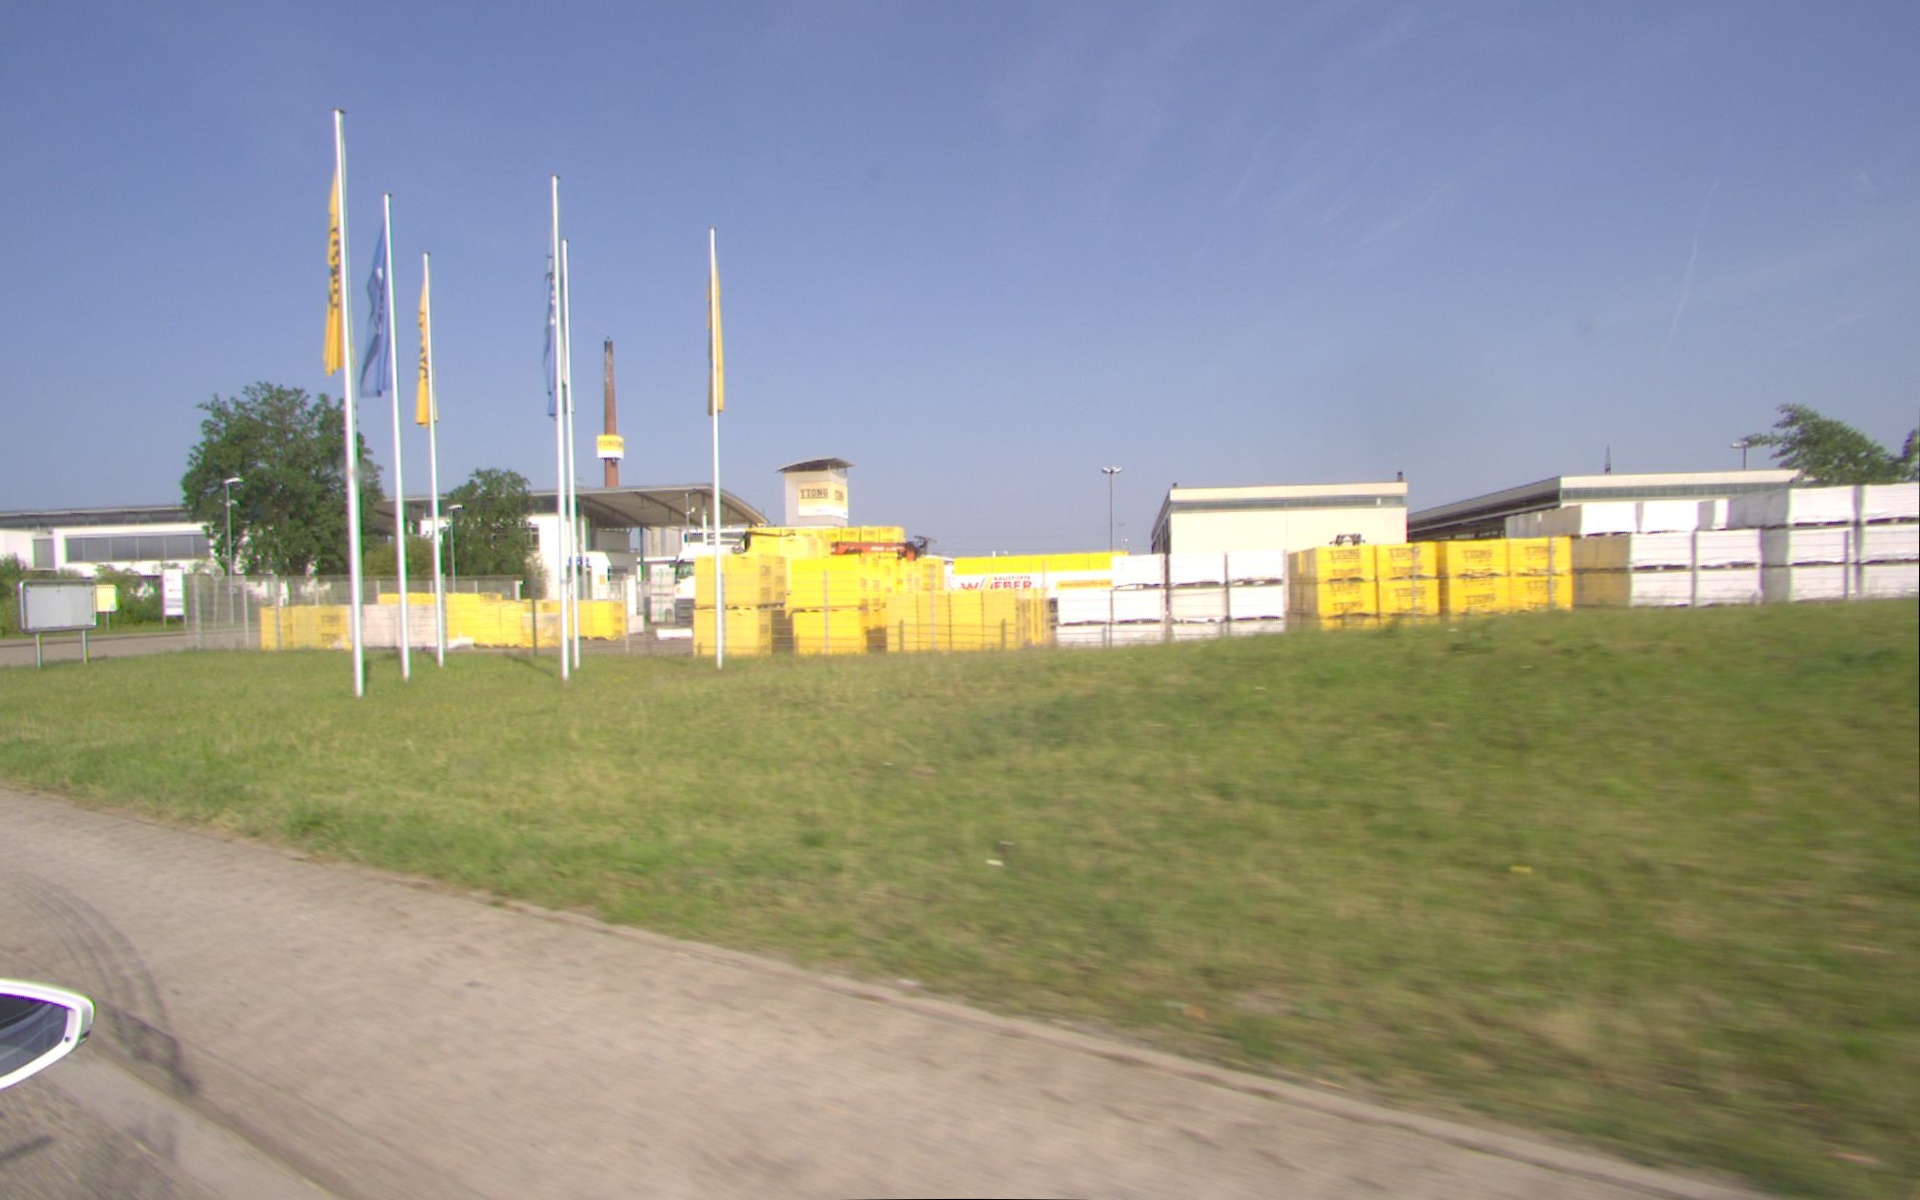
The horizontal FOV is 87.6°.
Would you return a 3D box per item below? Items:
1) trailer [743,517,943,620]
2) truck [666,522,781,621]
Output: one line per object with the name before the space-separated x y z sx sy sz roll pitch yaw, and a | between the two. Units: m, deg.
trailer | -4.703 -1.174 40.700 7.652 3.926 2.484 -1 -1 10
truck | -9.775 -1.099 41.616 3.924 3.926 2.545 -1 -1 10
